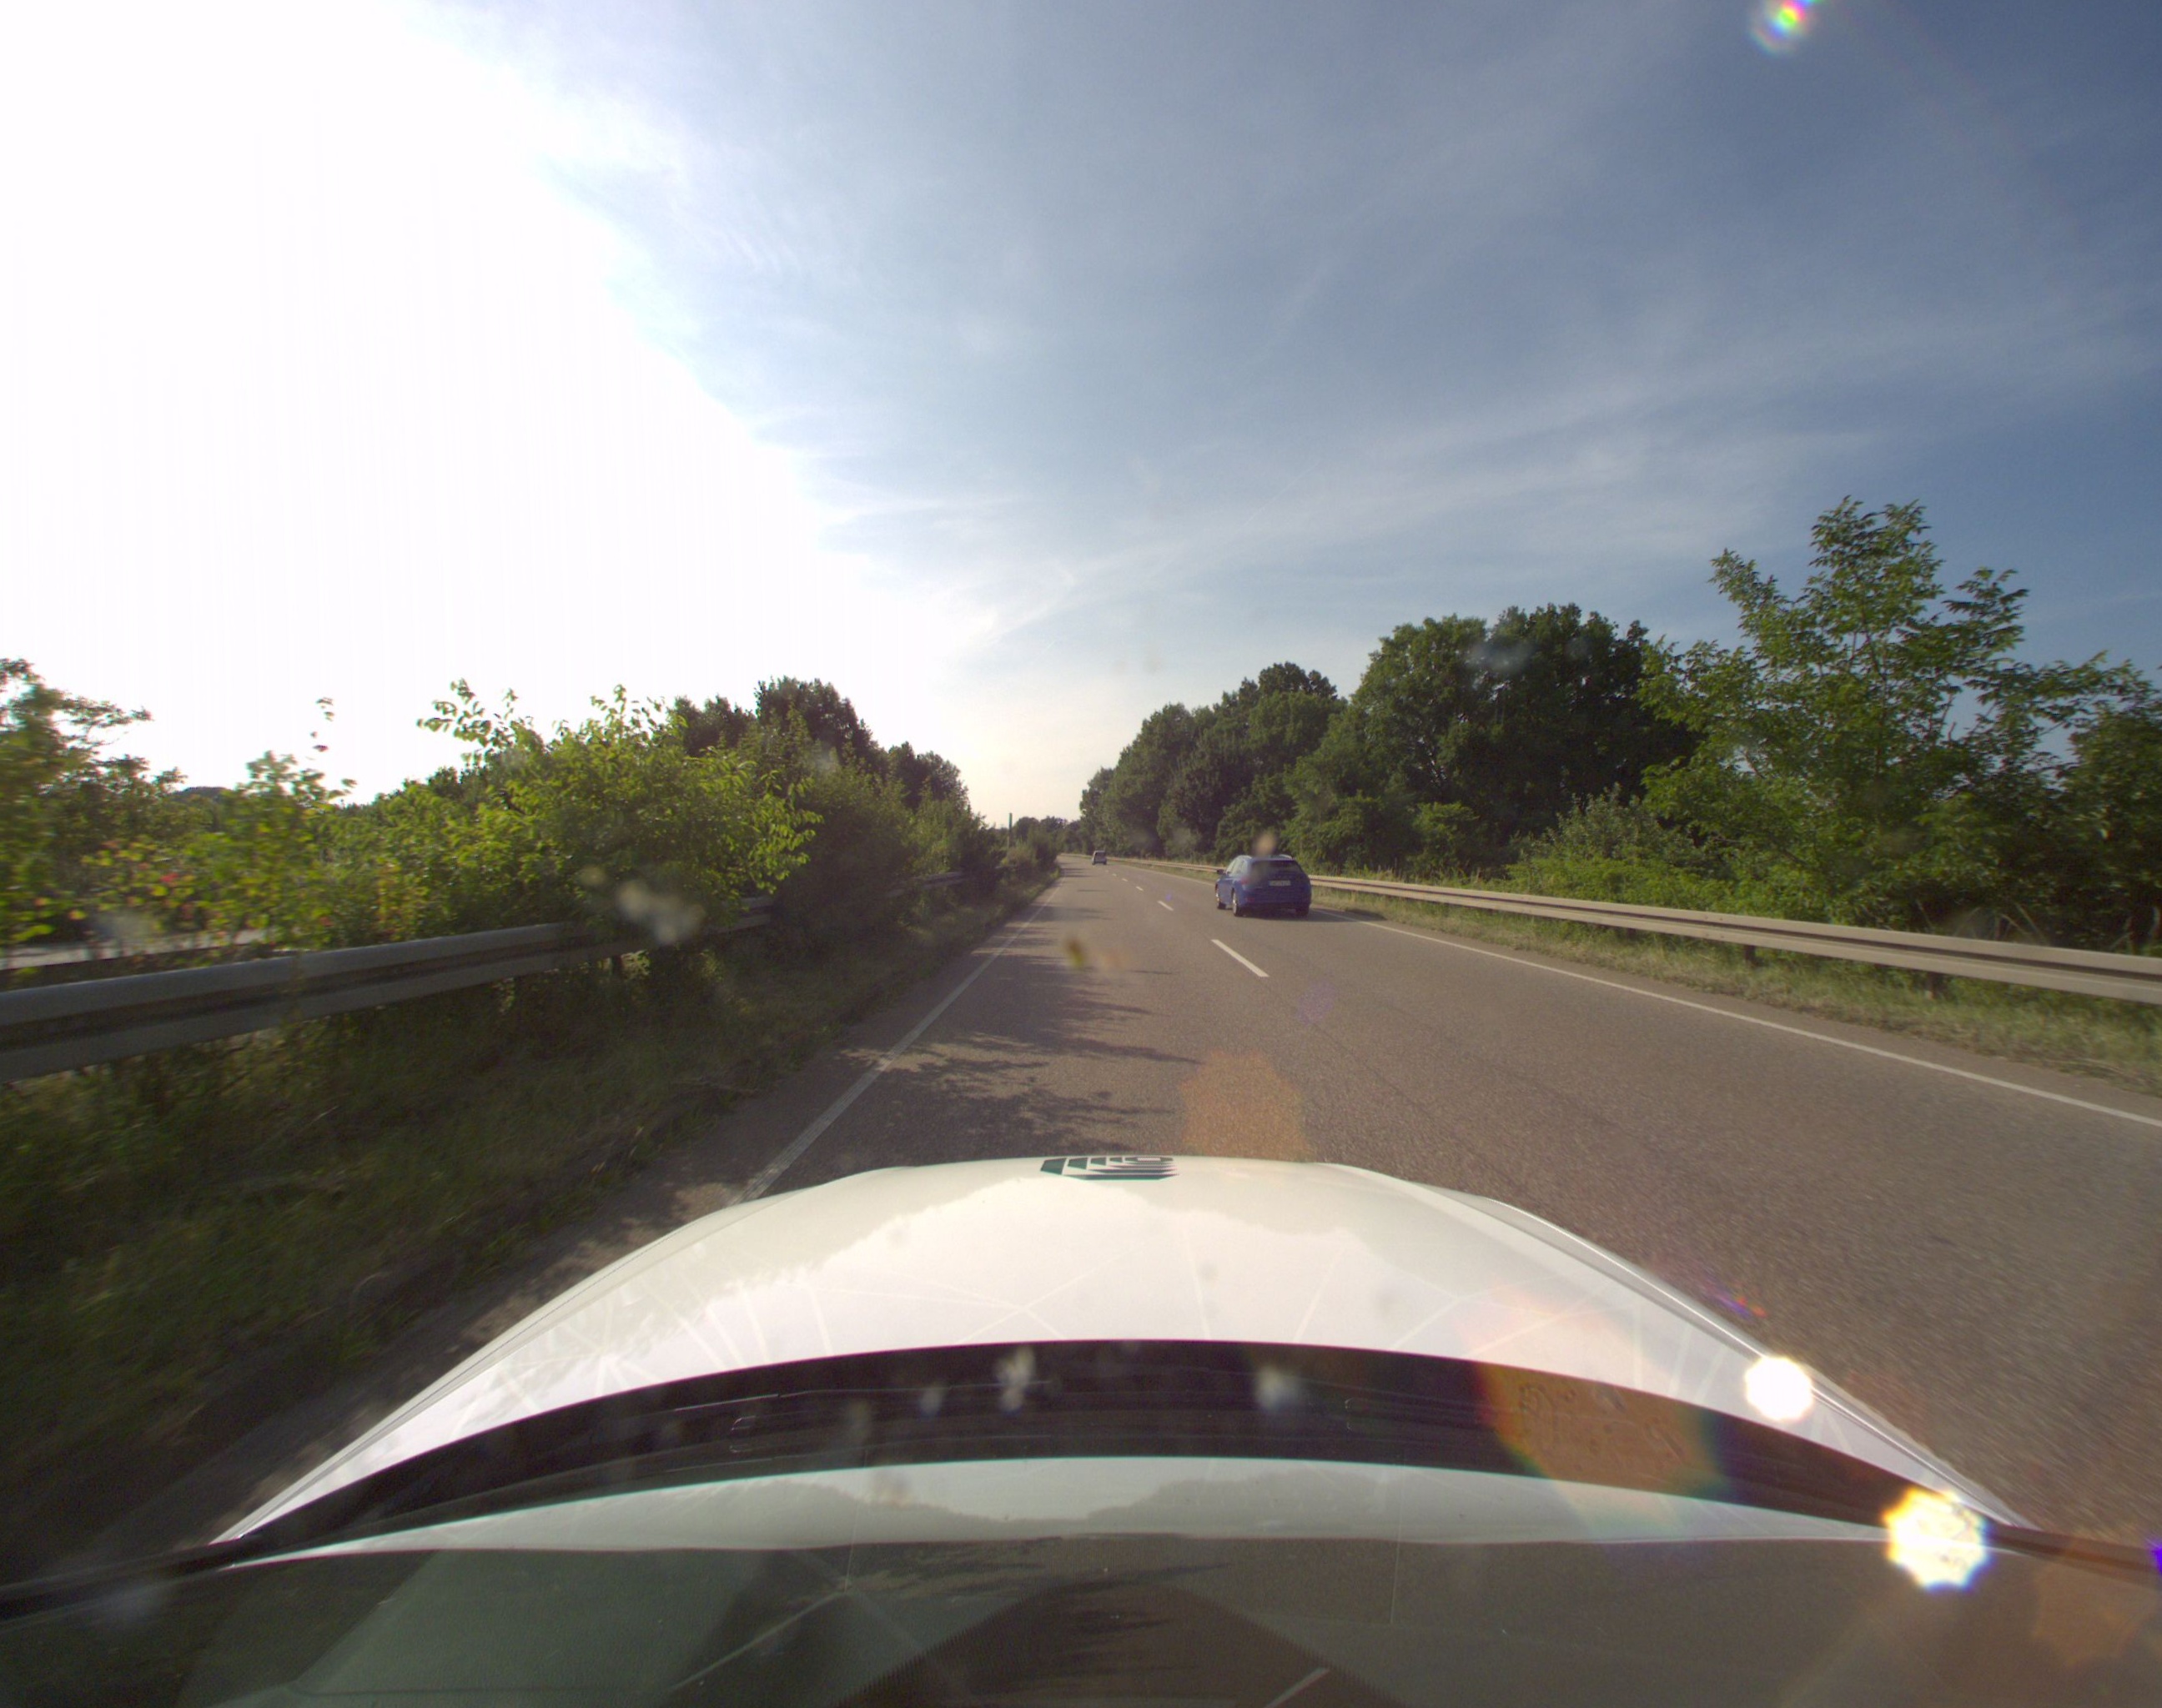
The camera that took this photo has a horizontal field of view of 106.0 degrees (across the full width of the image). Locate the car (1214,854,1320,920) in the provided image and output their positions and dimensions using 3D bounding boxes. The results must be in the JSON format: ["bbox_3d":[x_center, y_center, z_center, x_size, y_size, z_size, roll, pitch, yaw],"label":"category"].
[{"bbox_3d":[4.515,0.745,20.325,1.773,1.451,4.000,-1,0,1],"label":"car"}]

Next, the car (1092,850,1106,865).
[{"bbox_3d":[2.283,0.471,105.590,1.760,1.881,3.999,-1,1,0],"label":"car"}]
